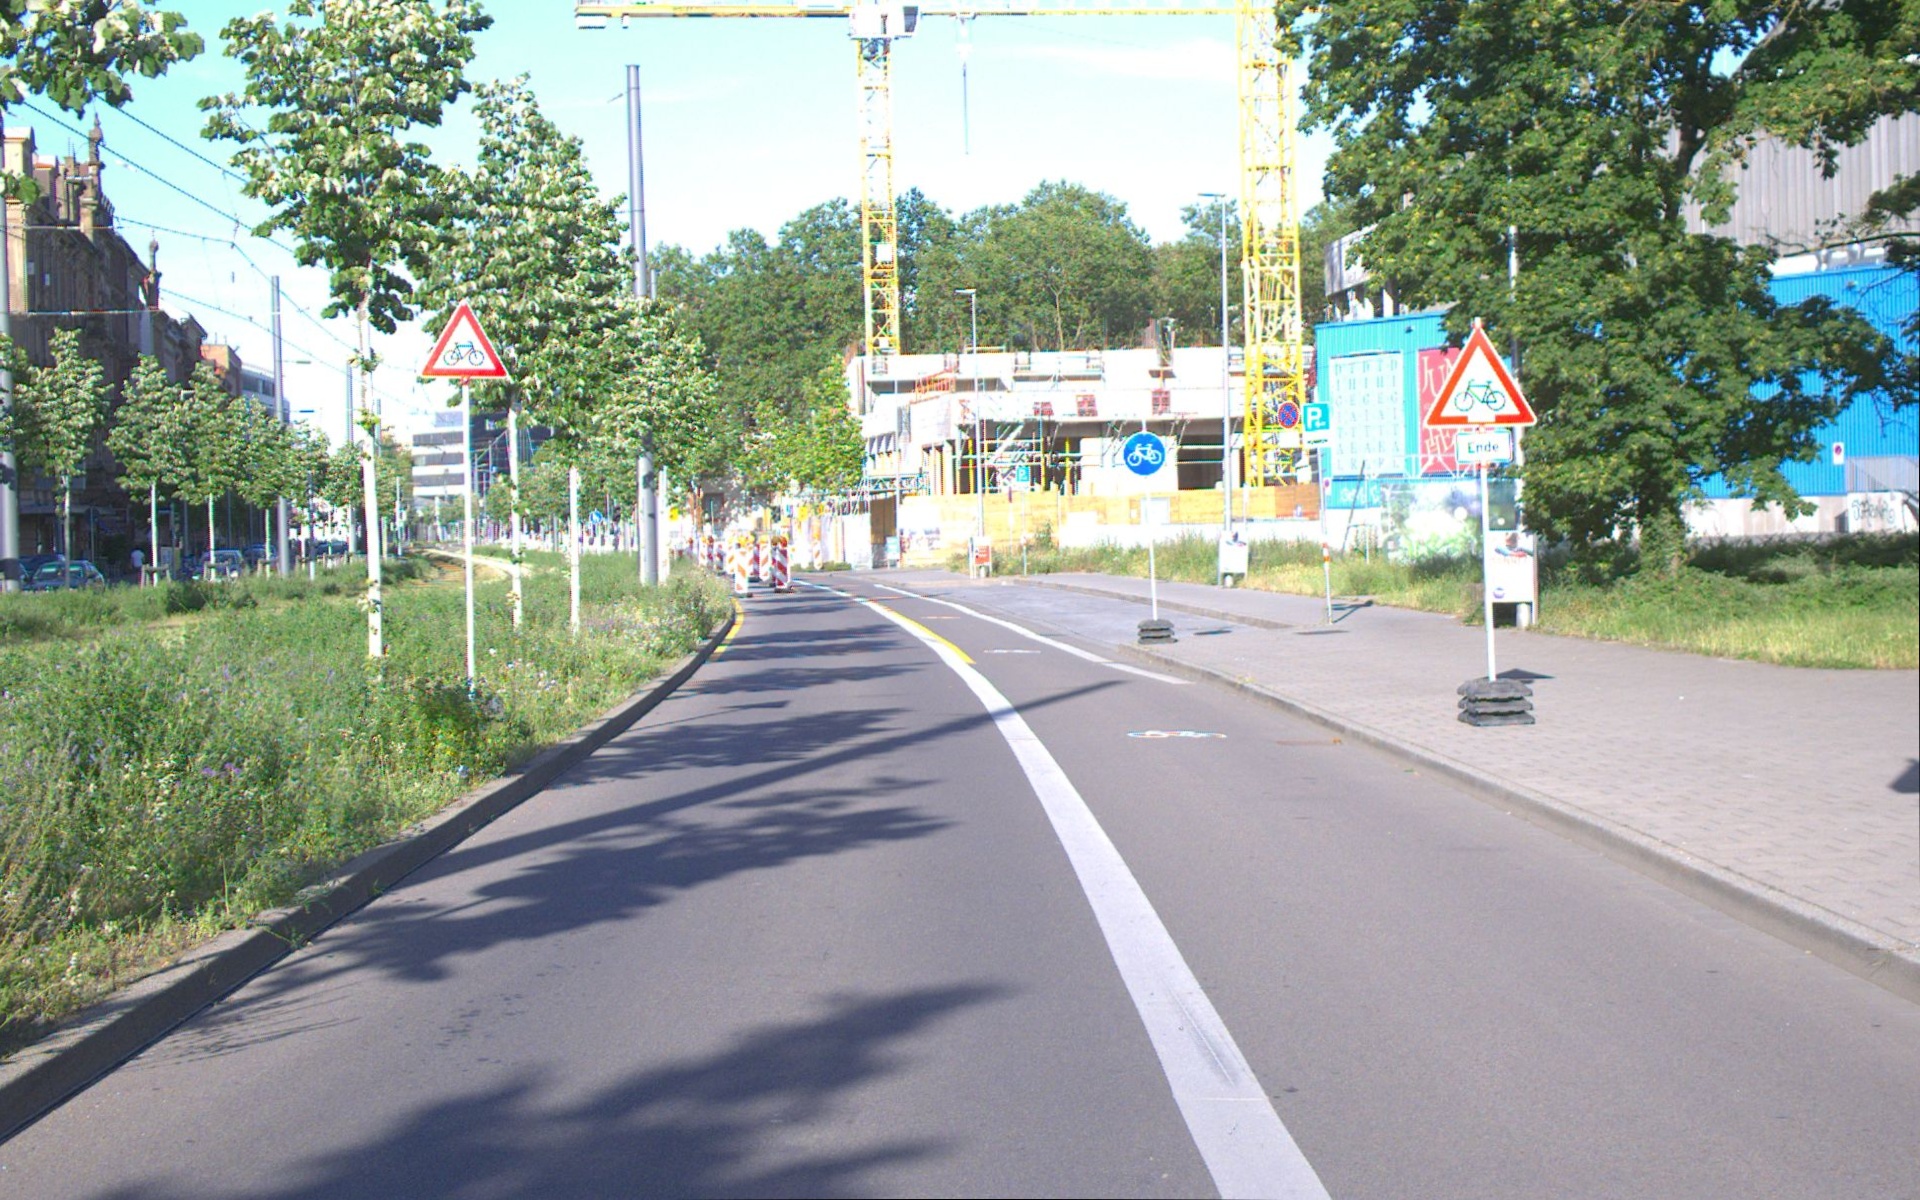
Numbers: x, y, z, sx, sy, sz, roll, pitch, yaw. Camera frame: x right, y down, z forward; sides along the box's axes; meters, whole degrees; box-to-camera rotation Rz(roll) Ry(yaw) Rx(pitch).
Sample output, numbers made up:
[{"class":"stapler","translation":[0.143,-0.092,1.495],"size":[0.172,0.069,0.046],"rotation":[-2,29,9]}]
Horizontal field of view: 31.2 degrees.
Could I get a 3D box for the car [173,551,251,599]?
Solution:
[{"class":"car","translation":[-26.337,-0.909,121.166],"size":[1.903,1.570,4.302],"rotation":[-2,1,-2]}]
